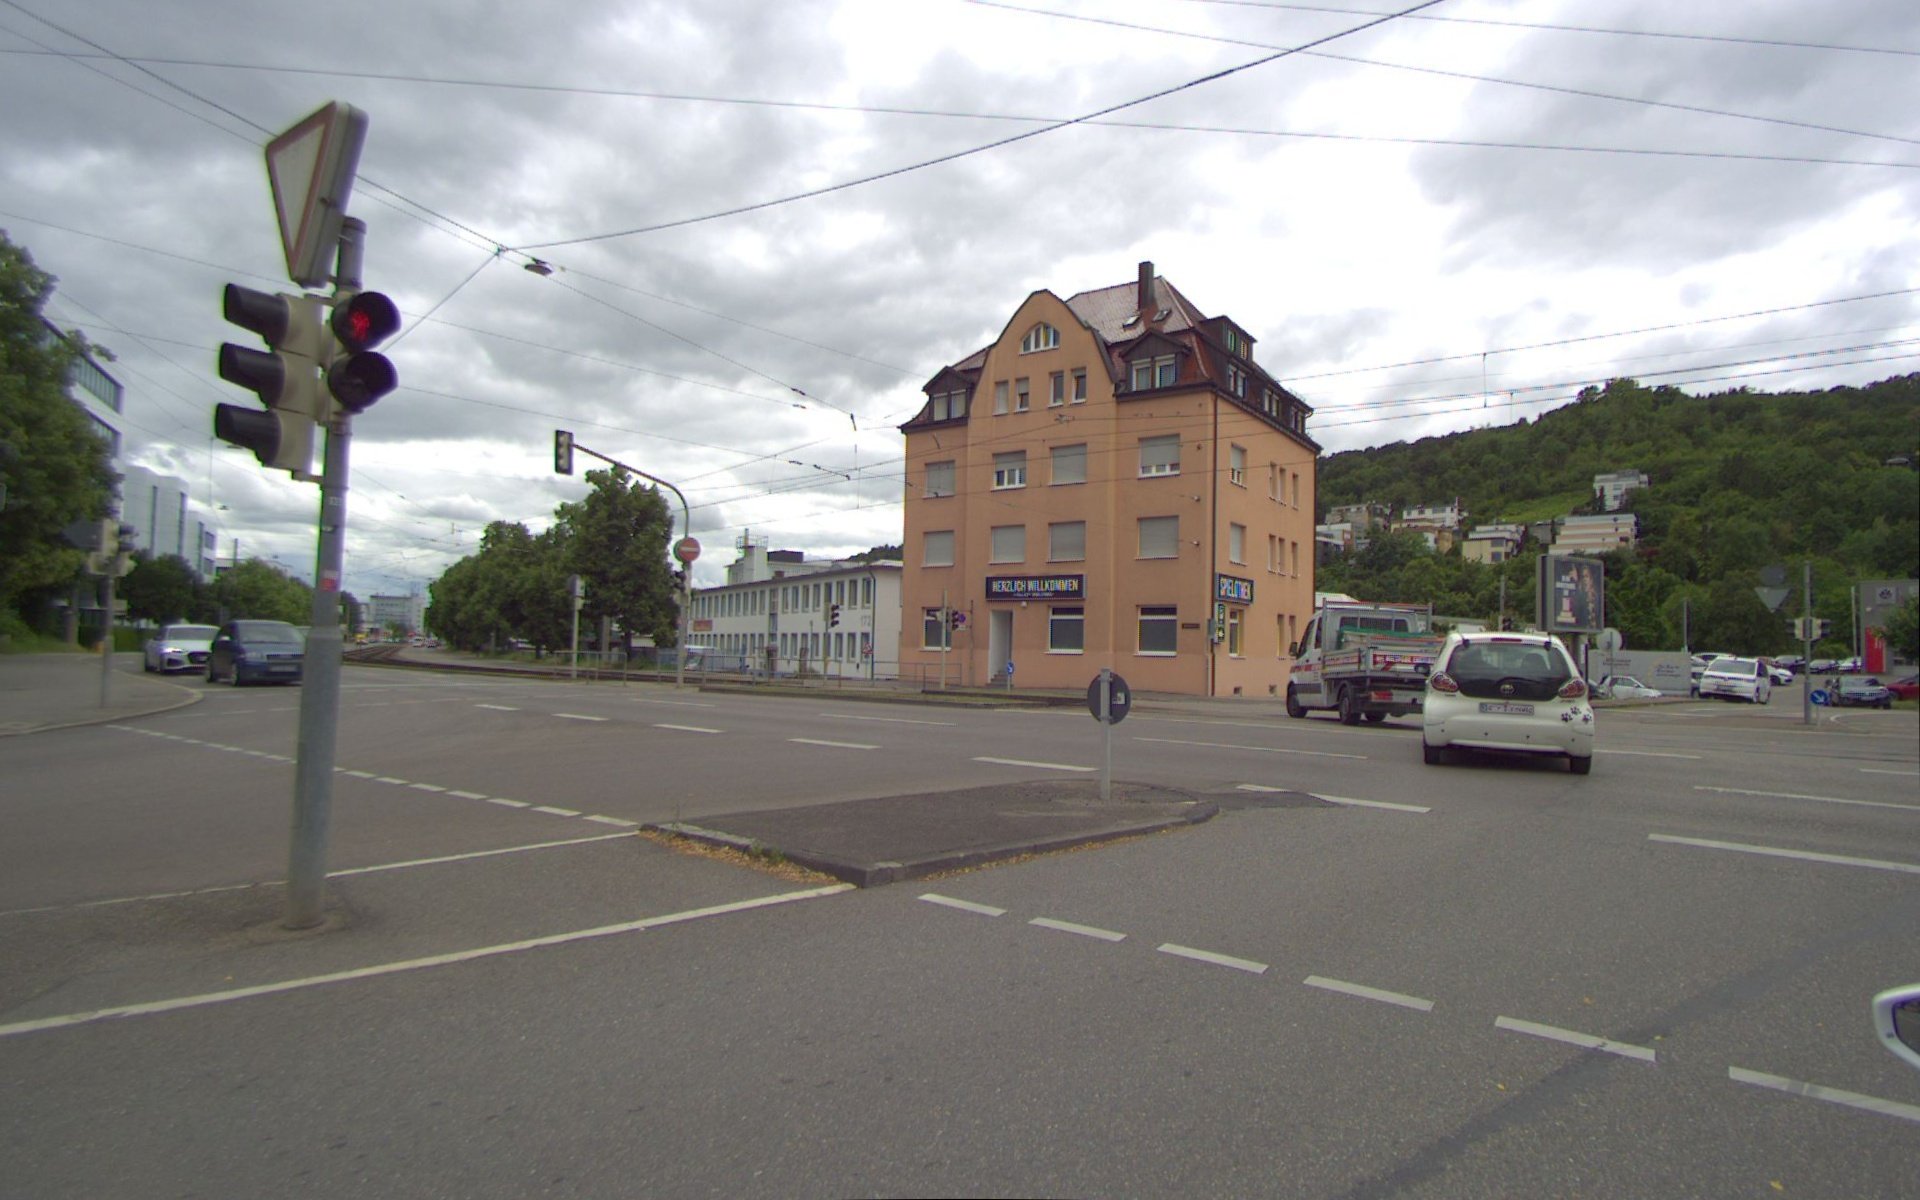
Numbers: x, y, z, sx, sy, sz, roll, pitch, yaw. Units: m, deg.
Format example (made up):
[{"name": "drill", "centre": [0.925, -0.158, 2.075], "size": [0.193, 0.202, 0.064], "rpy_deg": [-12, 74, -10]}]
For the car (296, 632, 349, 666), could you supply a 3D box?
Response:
[{"name": "car", "centre": [-26.787, 2.049, 42.275], "size": [1.609, 1.349, 3.151], "rpy_deg": [2, -3, -28]}]

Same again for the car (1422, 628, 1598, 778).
[{"name": "car", "centre": [6.283, 1.068, 11.764], "size": [1.568, 1.439, 3.371], "rpy_deg": [0, -1, 25]}]

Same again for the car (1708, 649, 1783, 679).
[{"name": "car", "centre": [63.705, 5.161, 81.525], "size": [1.986, 2.023, 4.454], "rpy_deg": [5, -1, -42]}]

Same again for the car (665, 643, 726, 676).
[{"name": "car", "centre": [-18.028, 4.022, 68.825], "size": [1.714, 2.128, 6.306], "rpy_deg": [0, -2, 8]}]

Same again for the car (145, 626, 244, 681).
[{"name": "car", "centre": [-22.033, 1.499, 28.851], "size": [1.738, 1.445, 4.110], "rpy_deg": [3, -3, -44]}]

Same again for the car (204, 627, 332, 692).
[{"name": "car", "centre": [-16.519, 1.374, 23.928], "size": [3.651, 1.410, 1.740], "rpy_deg": [-1, -3, 43]}]

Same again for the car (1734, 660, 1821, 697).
[{"name": "car", "centre": [55.262, 5.308, 67.948], "size": [4.445, 2.023, 1.990], "rpy_deg": [4, -1, 42]}]

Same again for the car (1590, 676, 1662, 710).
[{"name": "car", "centre": [32.992, 4.577, 49.763], "size": [2.770, 1.355, 1.529], "rpy_deg": [4, -1, 41]}]

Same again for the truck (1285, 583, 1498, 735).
[{"name": "truck", "centre": [8.146, 1.178, 19.673], "size": [2.274, 2.452, 5.660], "rpy_deg": [2, -4, 7]}]

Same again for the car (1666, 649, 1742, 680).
[{"name": "car", "centre": [59.332, 5.141, 80.141], "size": [1.986, 2.023, 4.454], "rpy_deg": [5, -1, -42]}]

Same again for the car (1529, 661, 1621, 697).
[{"name": "car", "centre": [28.565, 3.660, 46.759], "size": [3.505, 1.505, 1.601], "rpy_deg": [0, -3, 28]}]

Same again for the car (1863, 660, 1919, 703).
[{"name": "car", "centre": [50.585, 4.386, 52.677], "size": [1.981, 2.023, 4.465], "rpy_deg": [5, -1, -35]}]

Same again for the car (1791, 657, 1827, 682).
[{"name": "car", "centre": [76.192, 6.250, 90.120], "size": [4.483, 2.023, 1.973], "rpy_deg": [5, -1, -45]}]

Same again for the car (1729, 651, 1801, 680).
[{"name": "car", "centre": [68.236, 5.565, 85.165], "size": [1.986, 2.023, 4.454], "rpy_deg": [5, -1, -42]}]

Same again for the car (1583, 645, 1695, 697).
[{"name": "car", "centre": [35.076, 3.643, 52.076], "size": [4.425, 2.272, 1.999], "rpy_deg": [4, -1, 25]}]

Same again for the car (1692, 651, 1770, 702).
[{"name": "car", "centre": [32.894, 3.253, 42.809], "size": [2.054, 1.877, 4.880], "rpy_deg": [4, -1, 44]}]
